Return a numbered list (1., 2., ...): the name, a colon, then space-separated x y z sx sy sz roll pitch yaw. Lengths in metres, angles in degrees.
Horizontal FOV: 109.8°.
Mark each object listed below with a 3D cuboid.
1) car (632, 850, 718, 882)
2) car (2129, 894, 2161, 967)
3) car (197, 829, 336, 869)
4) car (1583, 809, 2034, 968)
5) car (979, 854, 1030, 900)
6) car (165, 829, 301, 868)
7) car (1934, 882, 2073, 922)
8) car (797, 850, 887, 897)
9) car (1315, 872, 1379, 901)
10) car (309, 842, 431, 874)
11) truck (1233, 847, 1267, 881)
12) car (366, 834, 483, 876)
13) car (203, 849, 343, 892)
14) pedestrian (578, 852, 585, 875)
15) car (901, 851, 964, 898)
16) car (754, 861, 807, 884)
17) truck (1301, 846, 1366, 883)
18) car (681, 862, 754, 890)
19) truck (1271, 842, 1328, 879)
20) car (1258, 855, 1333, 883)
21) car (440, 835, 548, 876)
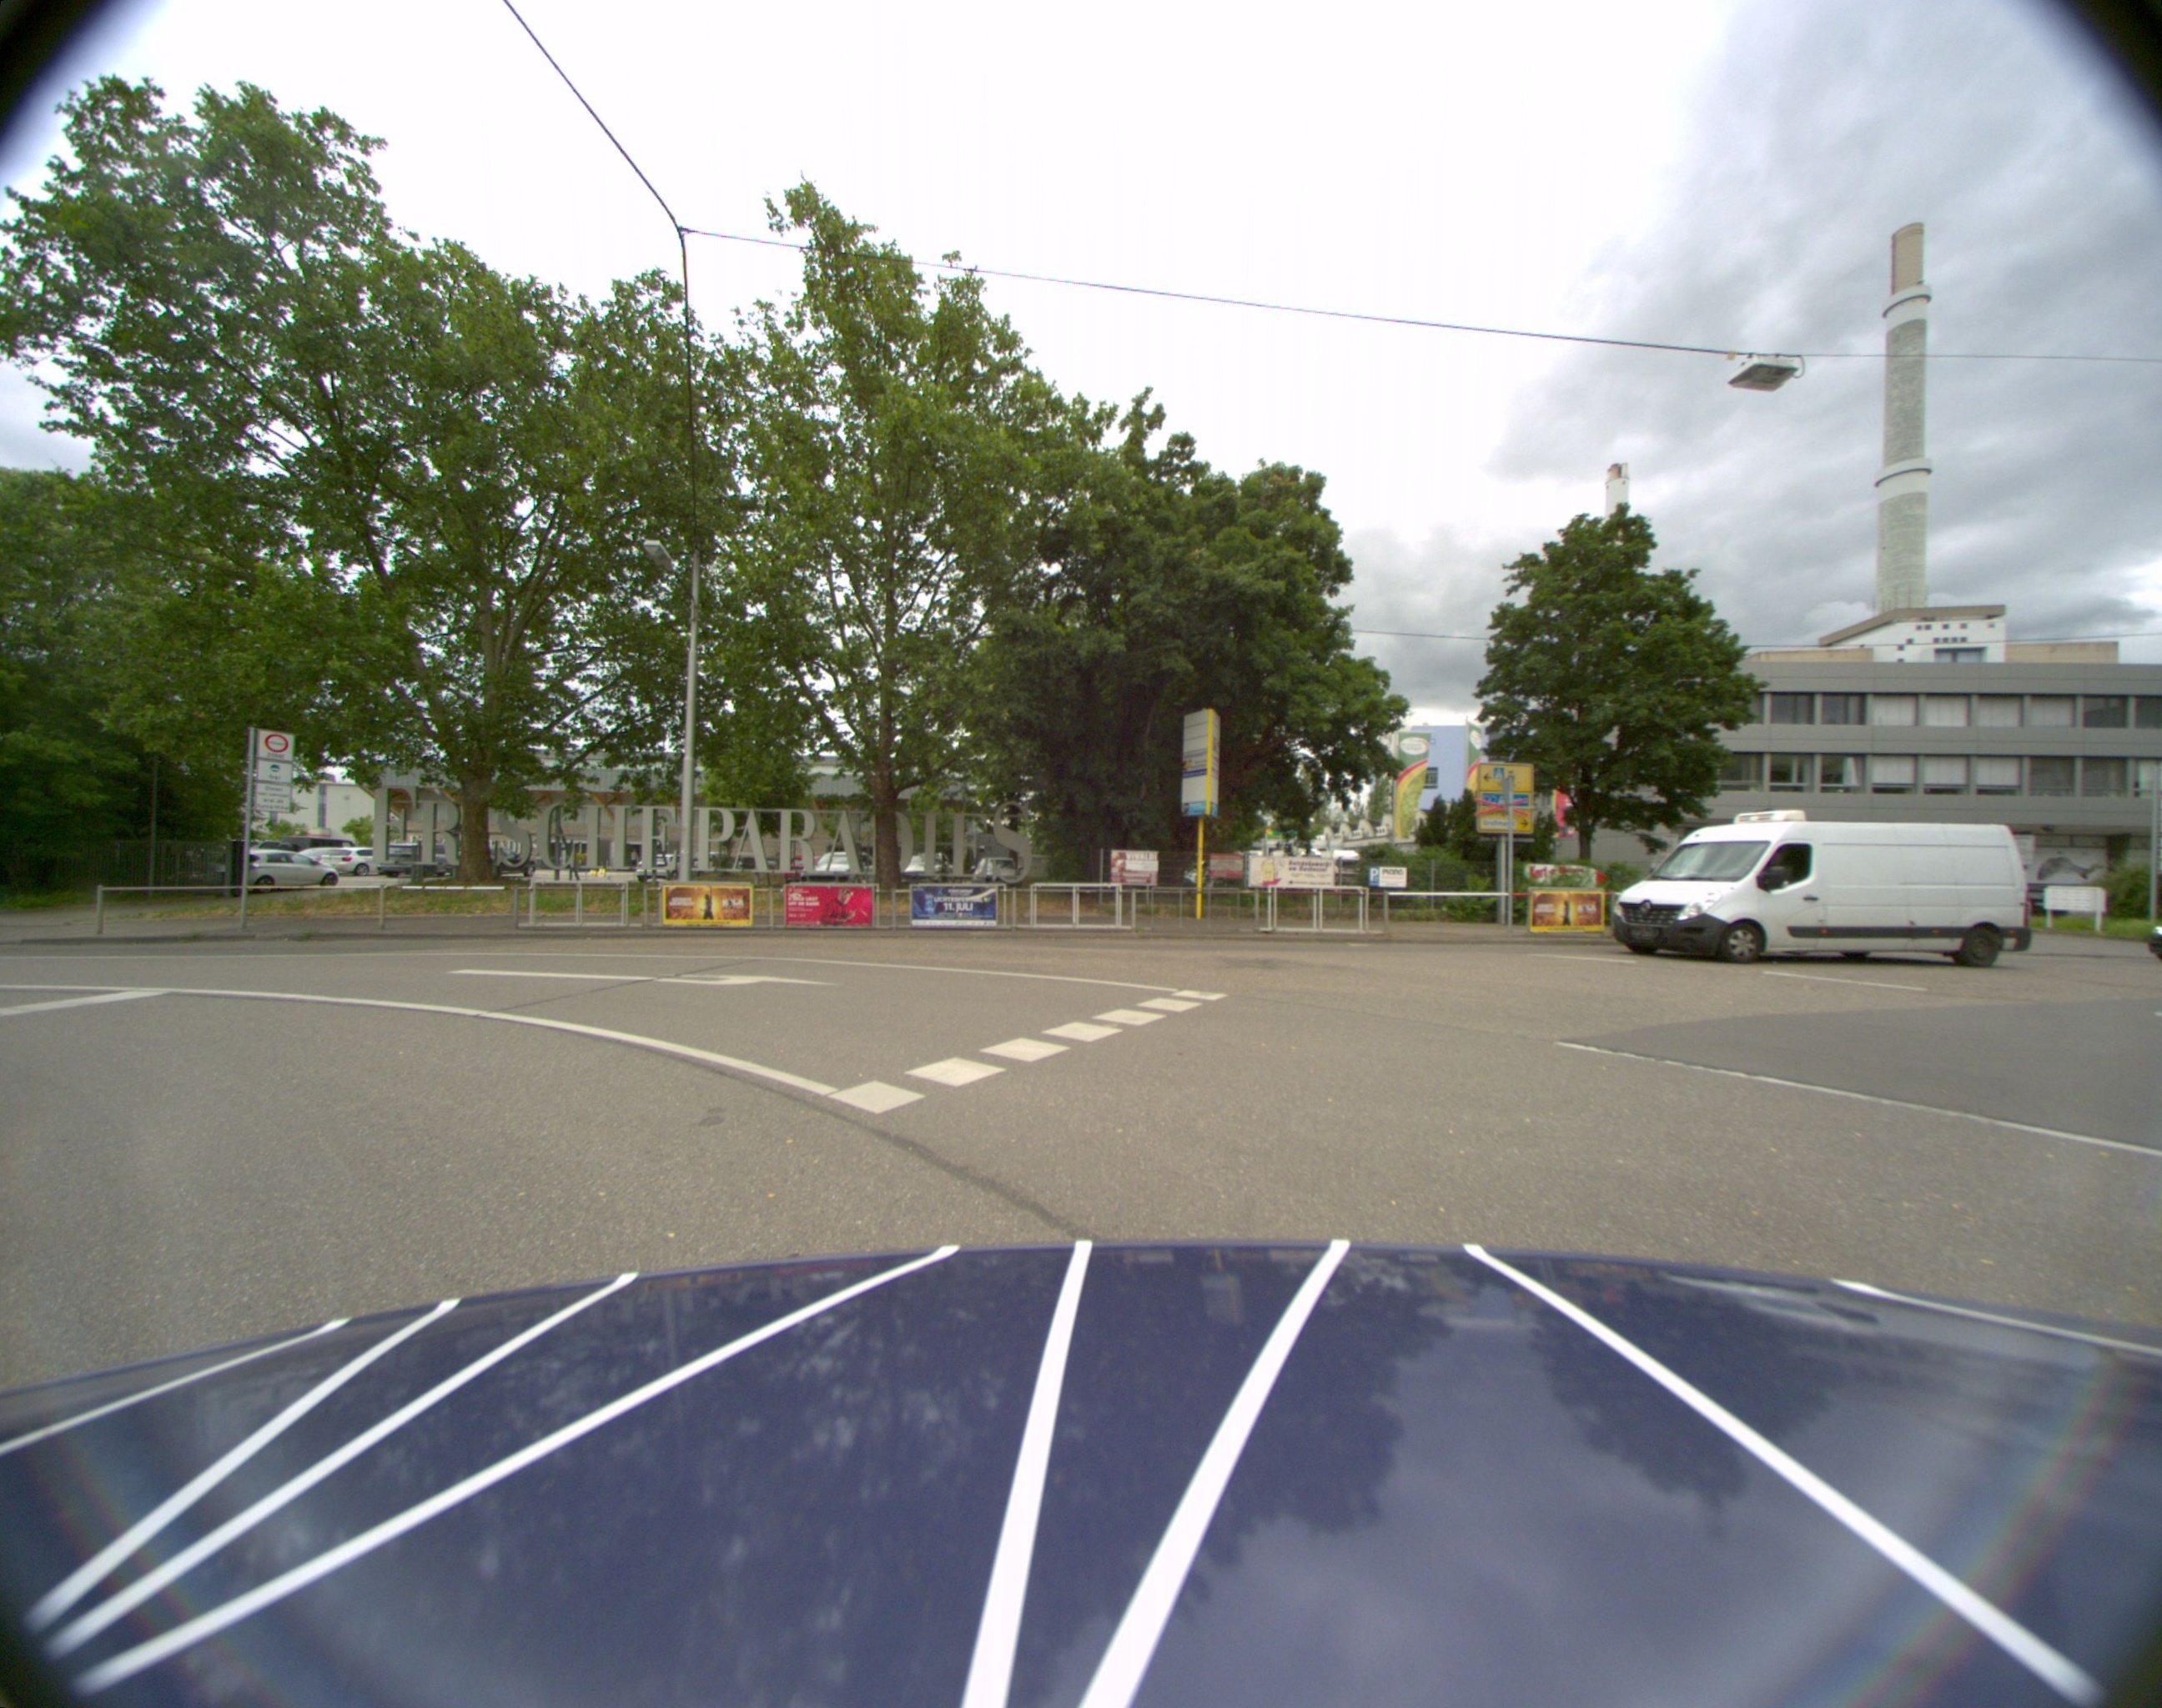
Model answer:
1. car: -21.117 0.640 39.723 1.999 1.552 4.641 1 -1 -1
2. car: 24.704 1.637 15.709 4.442 1.503 1.864 1 -1 -11
3. car: -43.496 -0.190 40.798 1.999 1.986 5.103 1 -1 -1
4. car: 12.532 0.618 13.356 6.099 2.444 2.389 1 -1 -7
5. car: -2.828 0.866 28.759 1.591 1.603 4.001 1 -2 -1
6. car: -45.980 -0.239 41.411 1.999 2.001 4.824 1 -1 -1
7. car: 42.424 2.131 35.133 2.045 1.437 4.836 1 1 23
8. car: -8.962 0.745 28.929 1.883 1.603 4.527 1 -2 1
9. car: 12.362 1.476 35.553 1.708 1.241 3.702 2 -1 1
10. car: -36.919 0.224 39.664 1.999 1.549 4.641 1 -1 -1
11. truck: 22.139 1.293 100.015 2.996 4.141 9.192 1 -1 4
12. car: -33.639 0.112 39.162 1.999 2.001 4.641 1 -1 -1
13. car: -30.566 0.626 28.910 1.481 1.495 3.729 1 -1 -4
14. pedestrian: -37.778 0.707 57.491 0.342 1.754 0.437 2 -2 -23
15. car: -5.533 0.774 28.705 1.591 1.603 4.318 1 -2 -1
16. car: -21.865 1.314 55.445 1.999 1.552 4.641 1 -1 -1
17. truck: 29.879 1.282 90.996 2.849 3.909 15.733 2 -1 2
18. car: -21.205 1.272 44.550 1.999 1.552 4.641 1 -1 -1
19. truck: 25.888 0.860 90.934 2.849 3.909 15.734 2 -1 2
20. car: 22.354 1.530 79.490 7.146 2.716 2.245 2 -1 4
21. car: -30.311 0.115 39.472 1.999 2.001 4.641 1 -1 -1
